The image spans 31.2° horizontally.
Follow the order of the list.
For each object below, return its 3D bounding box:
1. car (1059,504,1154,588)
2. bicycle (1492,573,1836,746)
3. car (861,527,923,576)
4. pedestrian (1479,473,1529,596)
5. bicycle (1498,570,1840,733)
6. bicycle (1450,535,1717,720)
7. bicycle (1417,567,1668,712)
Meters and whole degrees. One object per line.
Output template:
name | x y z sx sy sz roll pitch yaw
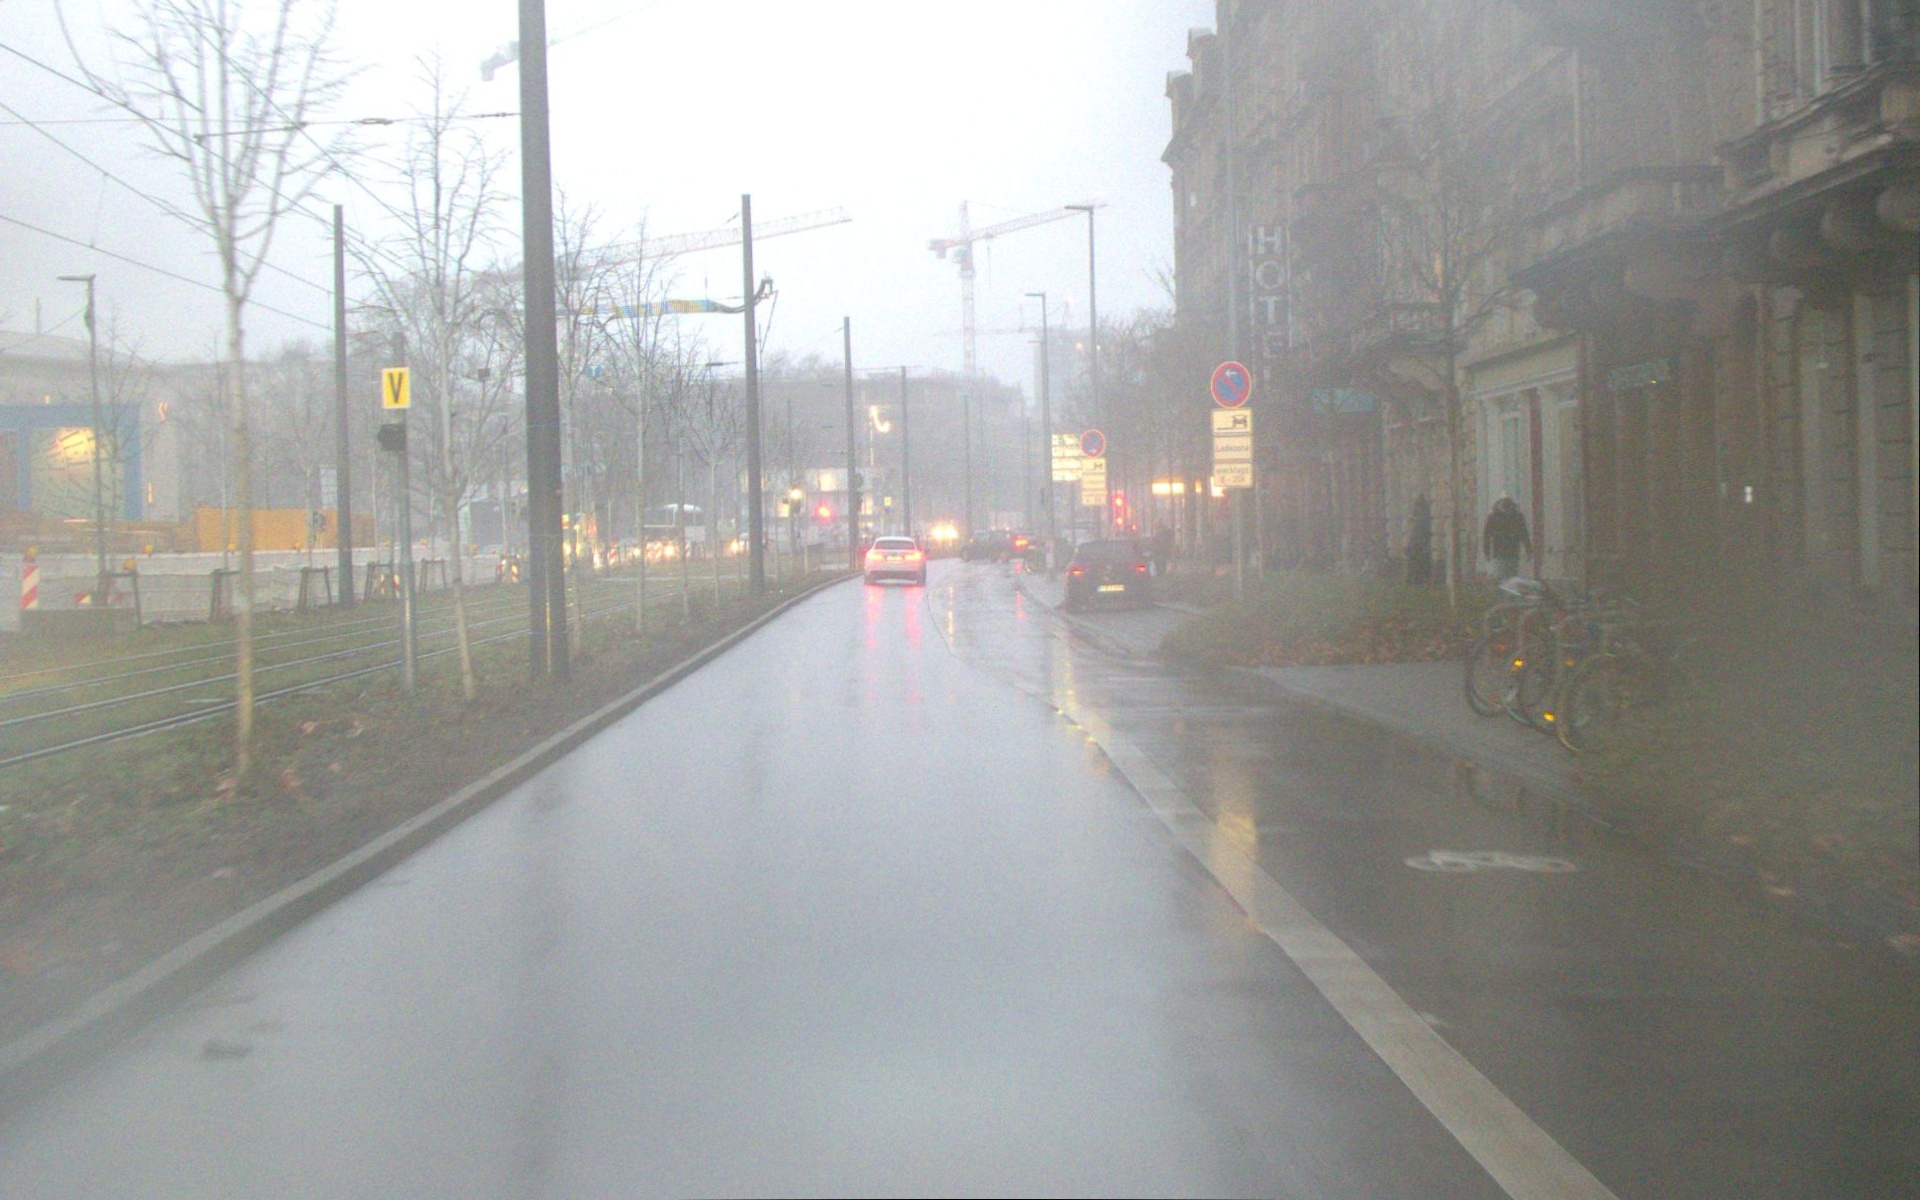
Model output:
car | 2.927 -1.105 69.272 1.799 1.598 3.770 -2 1 1
bicycle | 4.653 0.384 22.742 2.146 1.053 0.526 -2 1 -6
car | -2.079 -1.511 106.530 1.784 1.462 3.148 -1 1 1
pedestrian | 7.976 -0.969 50.442 0.603 1.779 0.528 -2 1 -1
bicycle | 4.937 0.352 23.995 2.248 1.053 0.526 -2 1 -3
bicycle | 4.575 0.197 25.256 1.851 1.285 0.415 -2 1 -3
bicycle | 4.545 0.303 26.860 1.851 1.054 0.471 -2 1 -3
